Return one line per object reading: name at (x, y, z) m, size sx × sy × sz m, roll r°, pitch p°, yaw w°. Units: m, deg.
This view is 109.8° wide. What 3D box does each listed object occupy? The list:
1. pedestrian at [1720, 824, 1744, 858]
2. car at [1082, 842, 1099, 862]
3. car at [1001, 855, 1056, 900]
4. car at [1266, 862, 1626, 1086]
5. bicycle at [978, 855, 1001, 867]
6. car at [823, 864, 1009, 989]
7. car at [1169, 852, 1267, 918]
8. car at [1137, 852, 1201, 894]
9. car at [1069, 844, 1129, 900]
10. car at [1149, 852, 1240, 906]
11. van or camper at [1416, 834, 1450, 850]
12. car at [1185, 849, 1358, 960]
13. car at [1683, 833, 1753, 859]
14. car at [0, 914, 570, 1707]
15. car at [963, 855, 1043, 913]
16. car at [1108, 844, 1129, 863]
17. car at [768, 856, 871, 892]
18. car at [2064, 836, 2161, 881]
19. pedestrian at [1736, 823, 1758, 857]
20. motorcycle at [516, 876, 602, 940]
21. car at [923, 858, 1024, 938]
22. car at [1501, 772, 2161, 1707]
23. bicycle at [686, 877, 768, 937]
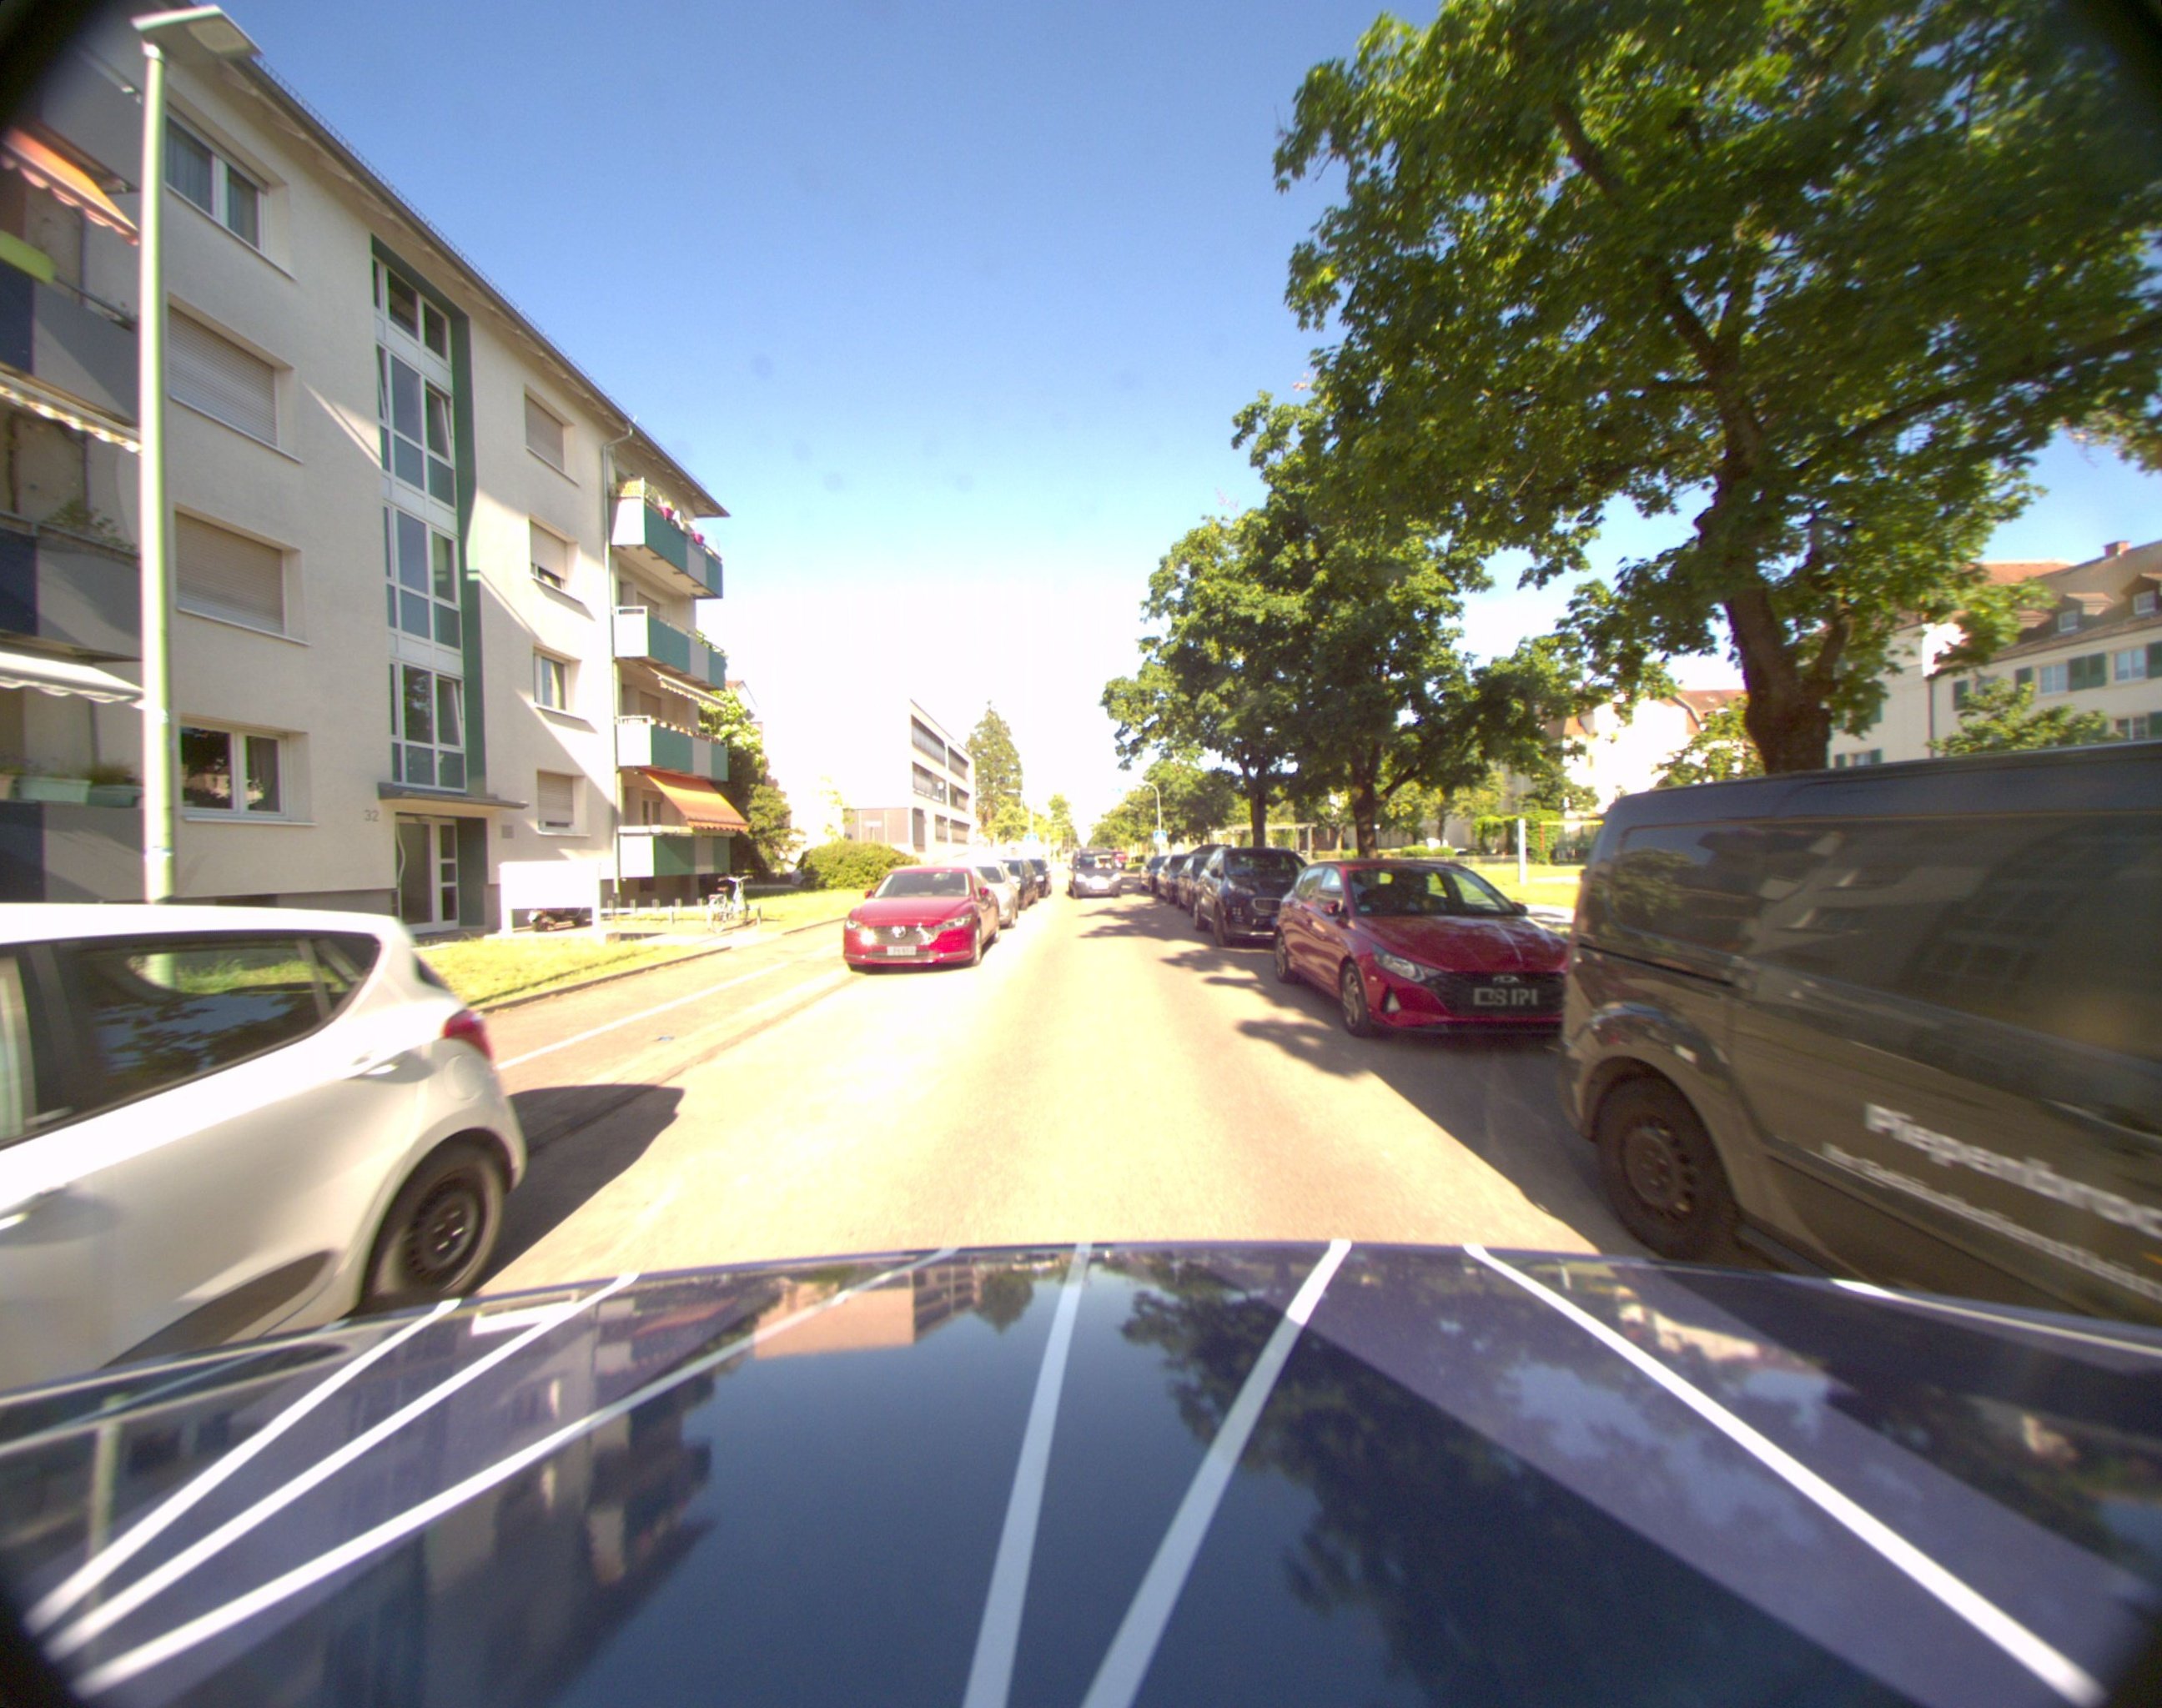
pedestrian at (32.690, -0.638, 38.151) m, size 0.545 × 1.675 × 0.750 m, roll -1°, pitch 1°, yaw 3°
car at (1.260, -0.236, 101.734) m, size 2.074 × 2.583 × 6.203 m, roll -1°, pitch 0°, yaw 2°
car at (-1.917, 0.844, 28.575) m, size 1.662 × 1.465 × 3.792 m, roll -3°, pitch 0°, yaw 1°
car at (2.976, 0.842, 7.212) m, size 1.542 × 1.420 × 4.087 m, roll -1°, pitch 0°, yaw 2°
bicycle at (-8.902, 0.698, 73.786) m, size 2.084 × 1.058 × 0.860 m, roll 1°, pitch 1°, yaw 1°
car at (-2.343, 0.963, 12.246) m, size 1.848 × 1.464 × 5.065 m, roll -1°, pitch 0°, yaw 0°
car at (3.335, 0.709, 19.211) m, size 1.884 × 1.411 × 3.803 m, roll -1°, pitch 1°, yaw 2°
car at (3.358, 0.686, 29.912) m, size 1.840 × 1.444 × 4.967 m, roll -1°, pitch 1°, yaw -1°
car at (0.586, 0.580, 26.557) m, size 1.902 × 1.779 × 4.157 m, roll -1°, pitch 0°, yaw 0°
car at (3.482, 0.703, 24.276) m, size 1.999 × 1.507 × 5.157 m, roll 0°, pitch 0°, yaw -2°
van or camper at (43.949, -1.500, 94.887) m, size 2.273 × 2.002 × 4.373 m, roll -1°, pitch 1°, yaw 1°
car at (3.101, 0.719, 13.477) m, size 2.030 × 1.616 × 4.757 m, roll 0°, pitch 0°, yaw 2°
car at (50.984, -0.641, 60.872) m, size 3.812 × 1.944 × 2.043 m, roll -1°, pitch 1°, yaw 2°
car at (-2.974, 1.022, 1.239) m, size 1.752 × 1.490 × 3.860 m, roll -1°, pitch 1°, yaw -2°
car at (-2.242, 0.835, 23.105) m, size 1.774 × 1.520 × 4.558 m, roll -1°, pitch 0°, yaw 2°
car at (3.963, -0.045, 79.417) m, size 2.021 × 1.867 × 4.741 m, roll -1°, pitch 0°, yaw 4°
car at (-12.969, 0.959, 37.825) m, size 4.419 × 1.614 × 1.914 m, roll -1°, pitch 1°, yaw -2°
car at (43.512, 0.154, 30.534) m, size 1.999 × 1.753 × 4.643 m, roll -1°, pitch 0°, yaw -1°
pedestrian at (33.345, -0.693, 38.037) m, size 0.544 × 1.675 × 0.674 m, roll -1°, pitch 1°, yaw 6°
motorcycle at (-10.684, 1.067, 15.648) m, size 0.584 × 1.145 × 2.036 m, roll -2°, pitch 1°, yaw -8°
car at (-2.341, 0.907, 17.626) m, size 1.878 × 1.525 × 4.492 m, roll -1°, pitch 0°, yaw -3°
car at (2.906, 0.723, 1.122) m, size 1.869 × 1.774 × 4.990 m, roll -1°, pitch 1°, yaw 1°
bicycle at (-7.283, 1.069, 15.740) m, size 0.721 × 1.071 × 1.896 m, roll -2°, pitch 1°, yaw 2°
